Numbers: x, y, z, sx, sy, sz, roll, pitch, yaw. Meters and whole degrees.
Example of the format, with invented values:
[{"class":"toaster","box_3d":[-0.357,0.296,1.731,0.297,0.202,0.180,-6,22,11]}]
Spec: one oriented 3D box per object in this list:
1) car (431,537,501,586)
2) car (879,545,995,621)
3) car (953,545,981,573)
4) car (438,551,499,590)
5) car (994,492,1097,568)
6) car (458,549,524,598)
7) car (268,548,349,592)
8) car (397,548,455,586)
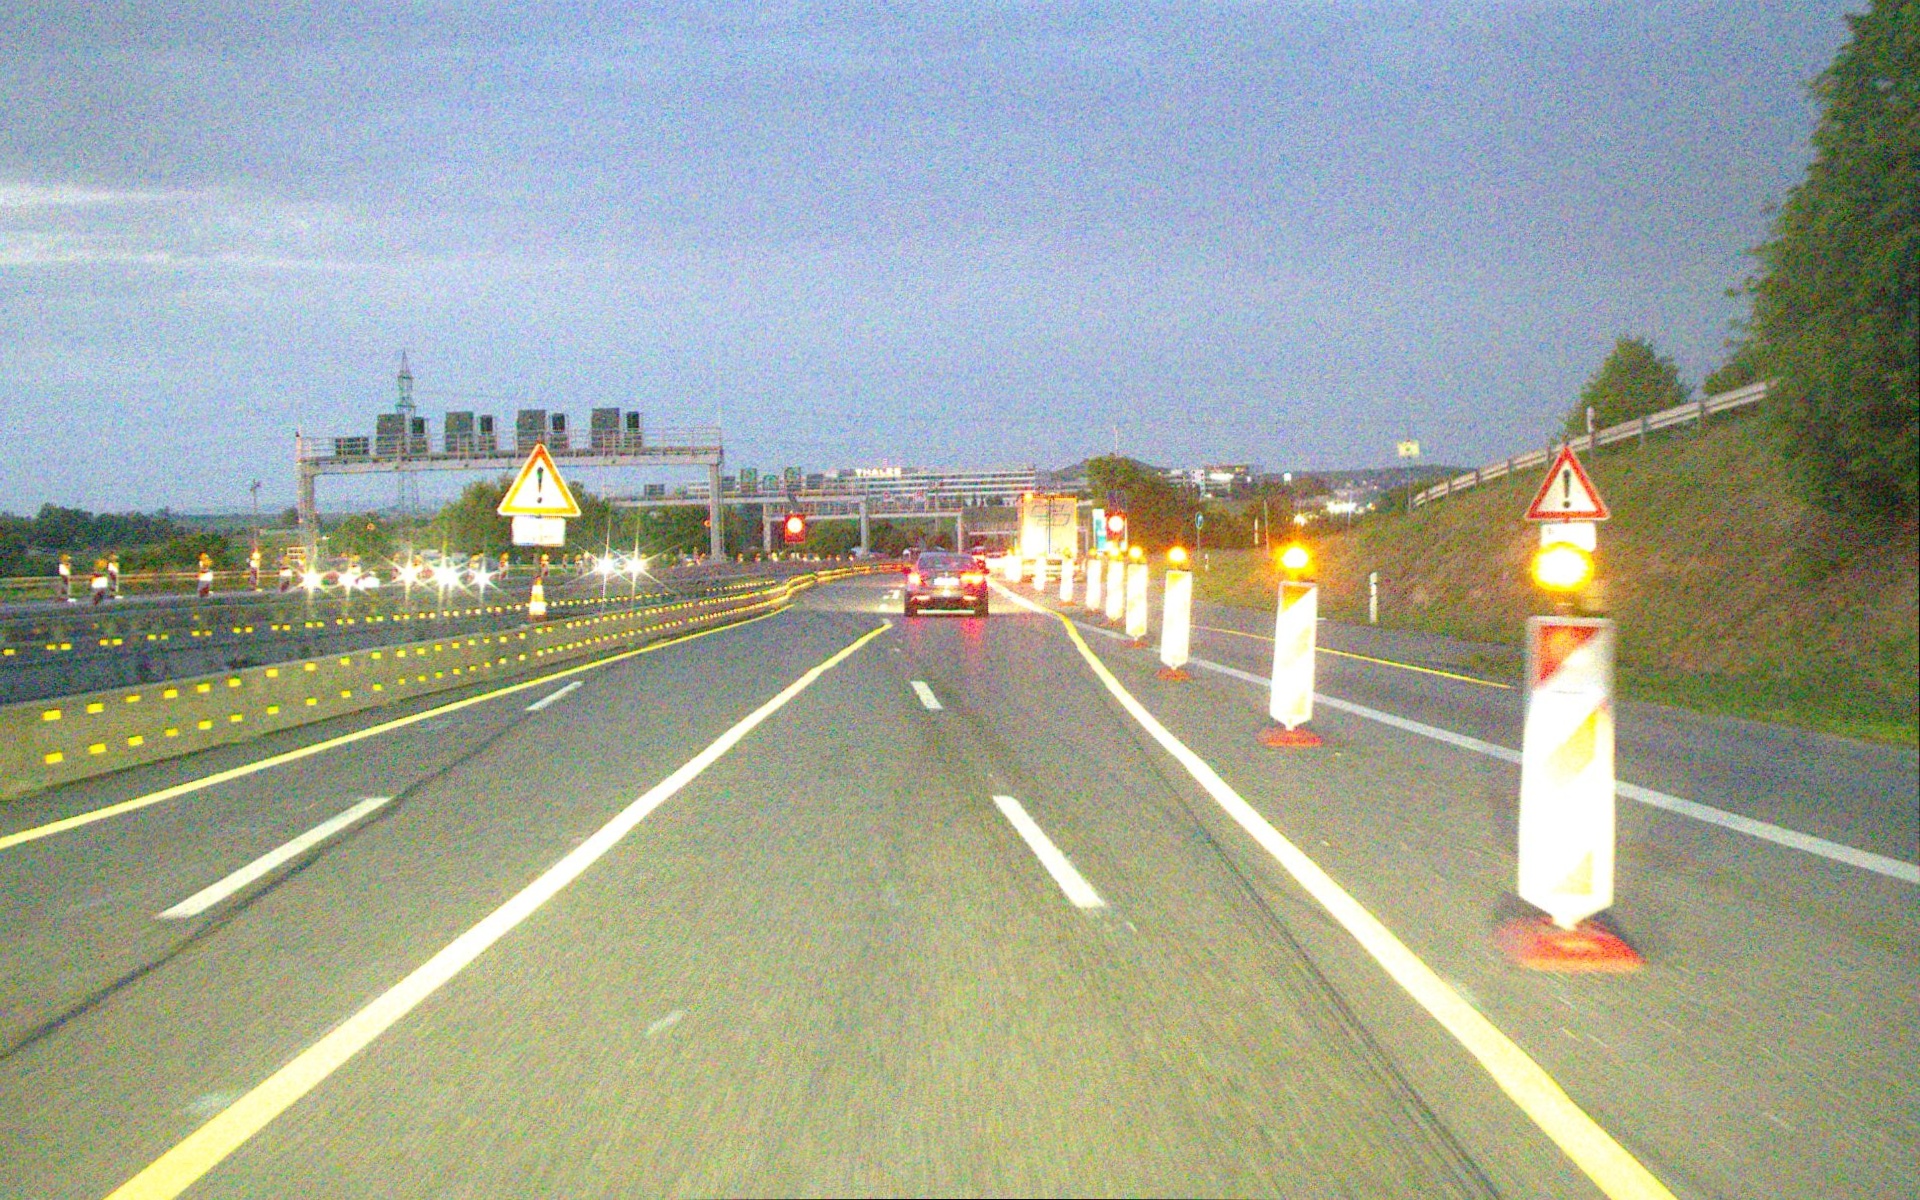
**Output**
[{"class":"car","box_3d":[-17.969,-1.407,125.213,1.993,1.708,4.000,1,1,0]},{"class":"car","box_3d":[-0.543,-0.402,77.102,2.265,1.616,4.001,1,1,-5]},{"class":"car","box_3d":[0.483,-3.019,253.770,1.993,2.007,4.000,1,1,-1]},{"class":"car","box_3d":[-19.558,-1.184,137.009,1.763,1.459,4.690,1,1,0]},{"class":"car","box_3d":[3.932,-3.236,160.484,3.604,3.384,8.016,1,1,-7]},{"class":"car","box_3d":[-18.033,-1.042,132.261,1.993,1.821,4.000,1,1,0]},{"class":"car","box_3d":[-22.432,-1.041,118.482,1.993,1.459,4.135,1,1,-1]},{"class":"car","box_3d":[-22.714,-1.416,146.266,1.763,1.543,4.425,1,1,0]}]
